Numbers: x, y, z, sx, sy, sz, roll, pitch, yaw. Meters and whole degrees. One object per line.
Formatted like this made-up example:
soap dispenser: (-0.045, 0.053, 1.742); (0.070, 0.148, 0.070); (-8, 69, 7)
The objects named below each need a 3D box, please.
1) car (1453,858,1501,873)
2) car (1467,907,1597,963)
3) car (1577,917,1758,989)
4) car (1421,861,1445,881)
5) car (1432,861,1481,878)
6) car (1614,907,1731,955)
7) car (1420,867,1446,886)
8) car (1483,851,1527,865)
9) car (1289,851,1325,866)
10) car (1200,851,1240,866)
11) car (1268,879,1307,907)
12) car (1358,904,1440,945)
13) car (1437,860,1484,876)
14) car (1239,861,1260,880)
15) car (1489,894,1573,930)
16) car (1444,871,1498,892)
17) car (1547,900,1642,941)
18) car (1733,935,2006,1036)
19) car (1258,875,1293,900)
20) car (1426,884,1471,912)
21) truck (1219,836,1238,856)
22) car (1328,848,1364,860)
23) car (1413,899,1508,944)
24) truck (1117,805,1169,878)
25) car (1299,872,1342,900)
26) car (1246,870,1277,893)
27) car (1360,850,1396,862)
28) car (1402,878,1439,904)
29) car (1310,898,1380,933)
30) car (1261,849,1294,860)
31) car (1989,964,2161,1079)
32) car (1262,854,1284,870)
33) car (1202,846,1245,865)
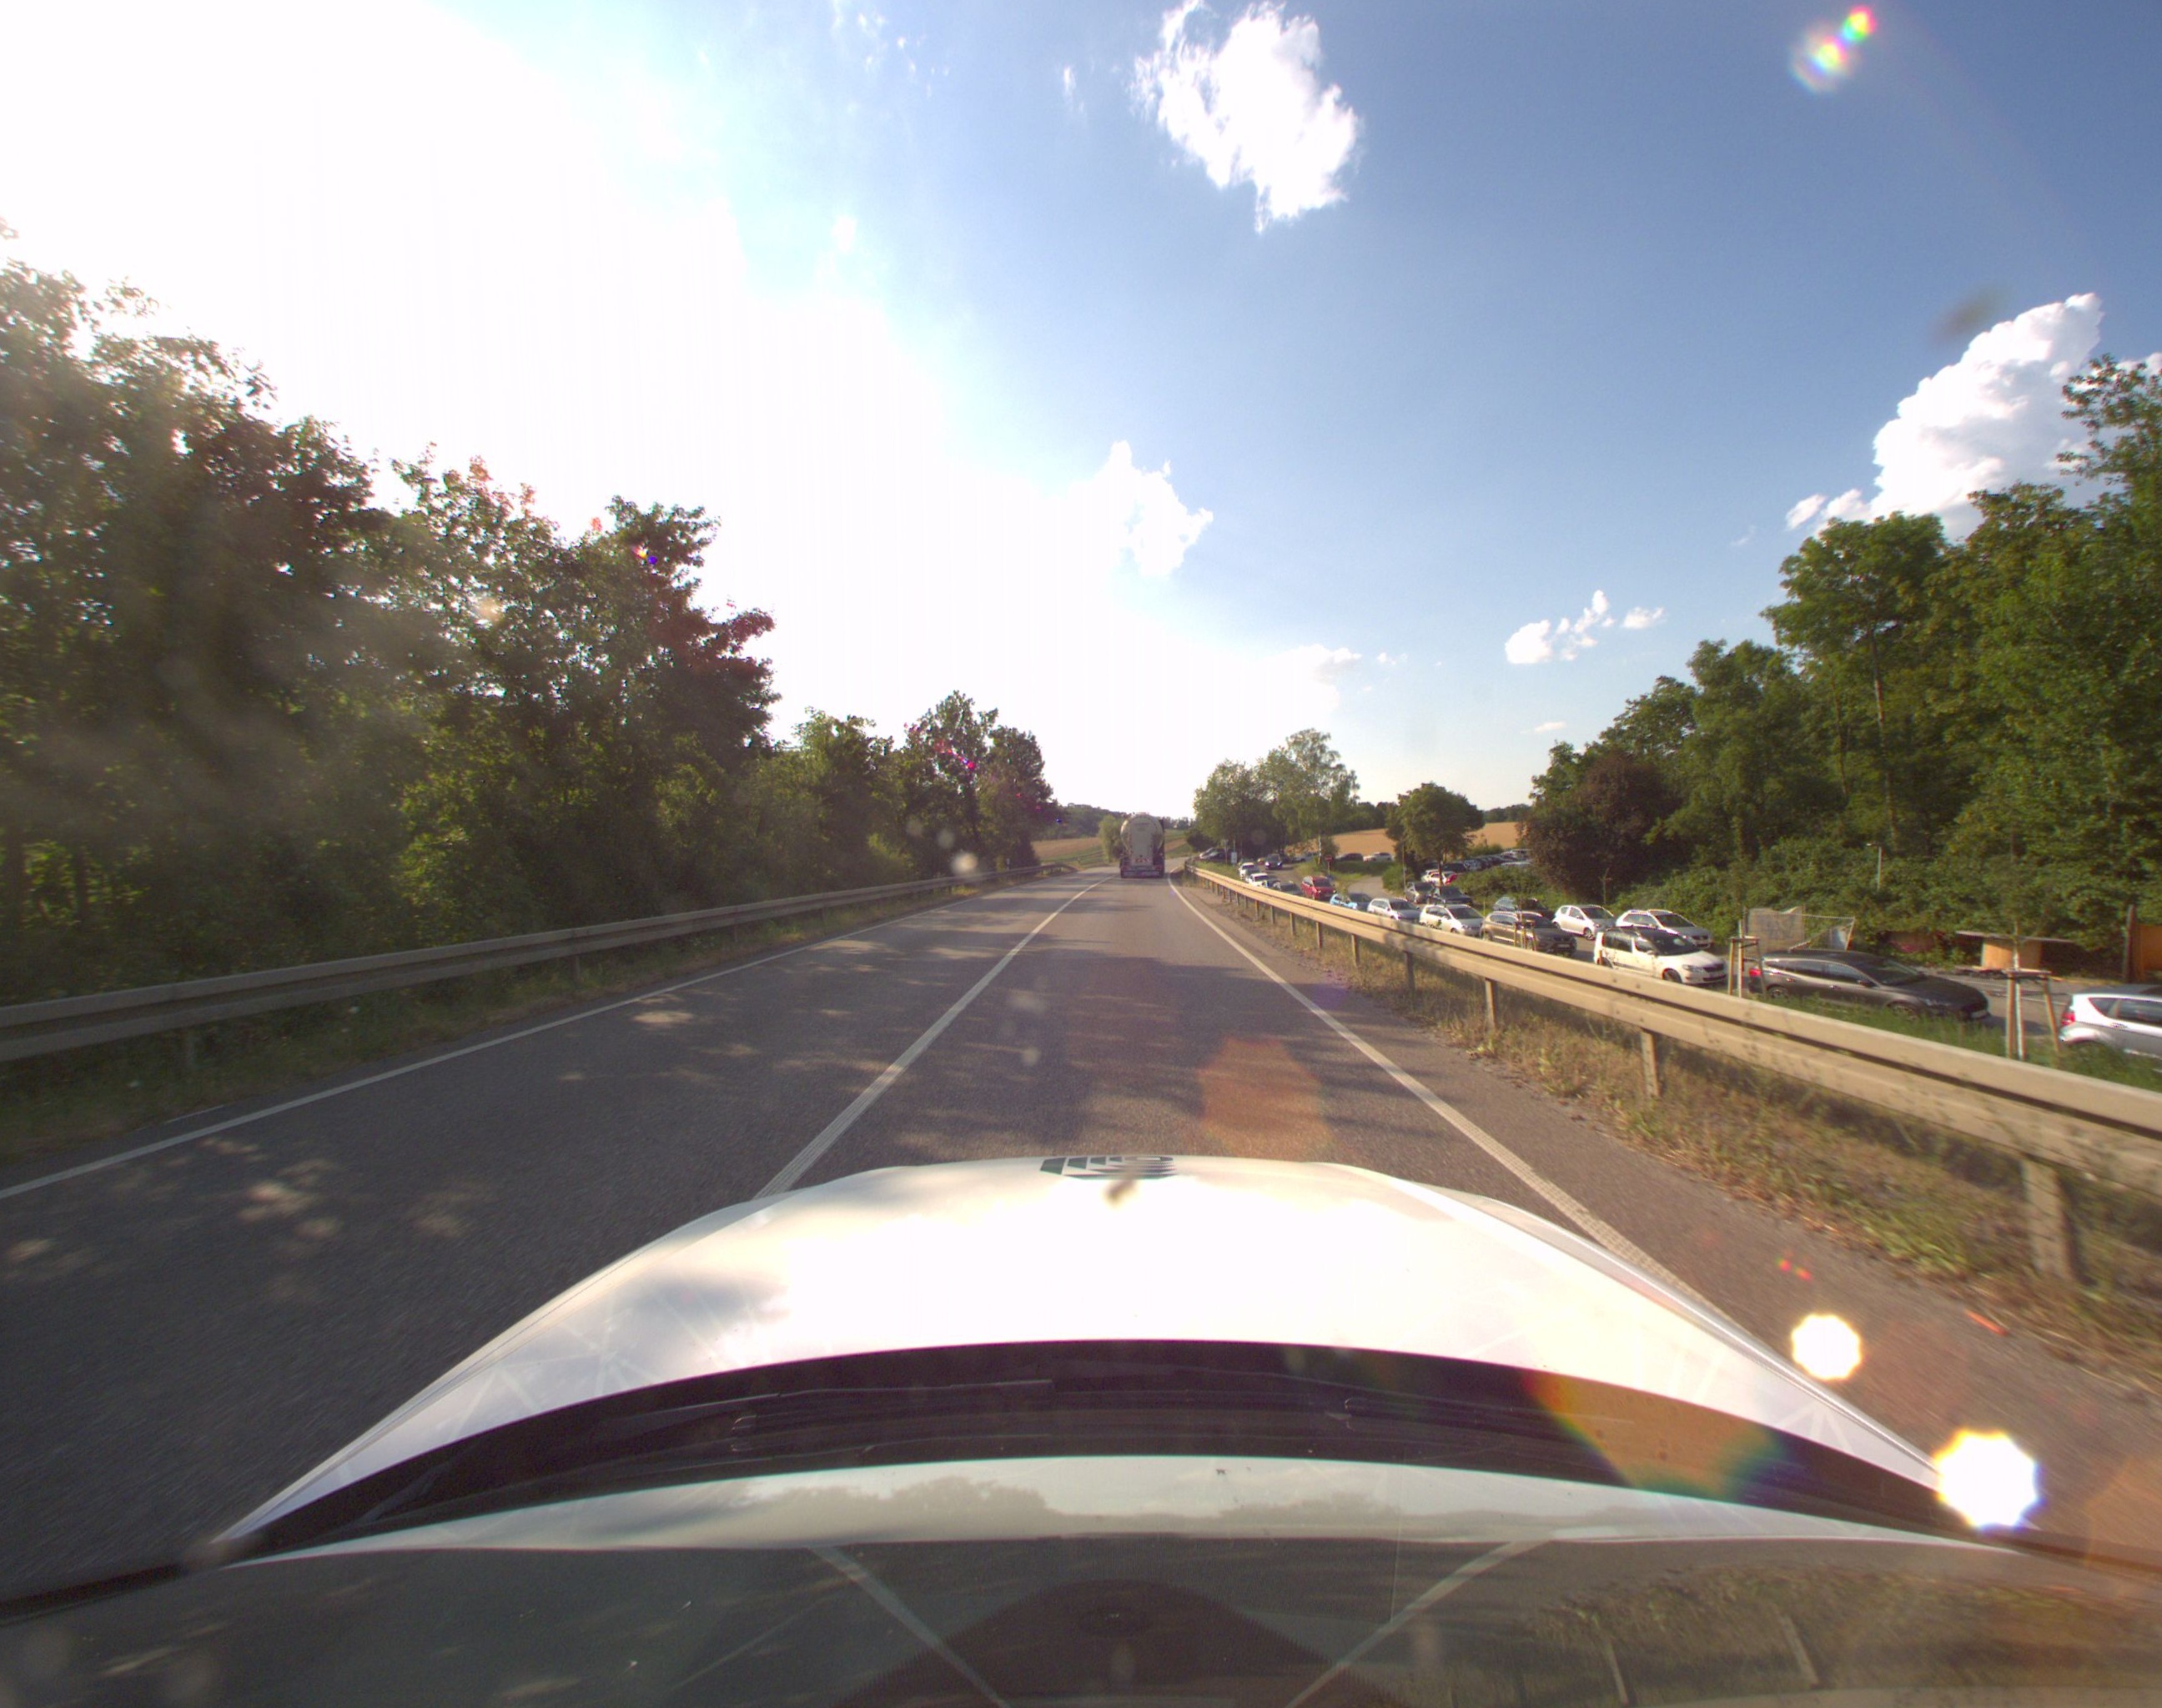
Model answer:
car: (45.342, 1.294, 93.368); (1.812, 1.691, 4.544); (-2, 0, -37)
car: (18.124, 3.207, 33.033); (1.893, 1.559, 4.764); (-5, 2, -11)
car: (19.129, 3.163, 26.882); (1.893, 1.559, 4.764); (-5, 2, -11)
car: (36.351, 1.713, 84.150); (1.780, 1.842, 4.625); (-2, 0, 29)
car: (40.493, 1.646, 87.763); (4.537, 1.691, 1.815); (-1, 0, 32)
car: (23.963, 3.068, 33.173); (1.698, 1.510, 3.939); (-2, 0, -4)
car: (33.503, 2.124, 77.626); (1.676, 1.486, 4.311); (-2, 1, 16)
car: (53.340, 0.510, 102.562); (1.812, 1.691, 4.544); (-2, 0, -37)
car: (29.617, 0.538, 106.811); (4.216, 1.747, 1.800); (-2, 1, -18)
car: (16.221, 0.509, 95.188); (4.328, 1.509, 1.708); (2, 1, -22)
car: (15.503, 2.916, 61.251); (1.884, 1.559, 4.788); (-5, 2, 4)
car: (17.030, 3.715, 43.864); (1.891, 1.559, 4.768); (-5, 2, -9)
car: (42.942, 1.583, 92.235); (4.537, 1.691, 1.815); (-1, 0, 32)
car: (17.259, 1.684, 83.689); (1.880, 1.559, 4.798); (-5, 2, 11)
car: (23.320, 2.968, 42.461); (1.695, 1.398, 4.785); (-4, 0, 1)
car: (32.012, 2.240, 66.927); (3.736, 1.543, 1.661); (-2, 0, 15)
car: (23.552, 3.013, 37.518); (1.697, 1.398, 3.941); (-4, 0, -2)
car: (19.860, 3.211, 20.876); (1.893, 1.559, 4.764); (-5, 2, -11)
car: (15.855, 2.725, 66.509); (1.884, 1.559, 4.788); (-5, 2, 4)
car: (23.739, 2.806, 52.723); (1.689, 1.398, 4.803); (-4, 0, 14)
truck: (33.013, -1.914, 181.607); (3.161, 4.227, 13.222); (-2, 1, 14)
car: (35.816, -0.020, 109.963); (4.653, 1.507, 1.983); (-1, 0, -27)
car: (17.814, 3.113, 38.542); (1.889, 1.559, 4.773); (-2, 1, -6)
truck: (4.017, -0.774, 53.330); (2.880, 4.142, 13.186); (-1, 0, 4)
car: (18.902, 2.511, 64.544); (1.885, 1.686, 5.087); (-5, 2, 1)
car: (16.015, 2.439, 72.384); (1.884, 1.559, 4.788); (-5, 2, 4)
car: (41.003, 0.286, 112.348); (4.653, 1.507, 1.983); (-1, 0, -27)
car: (24.474, 2.667, 58.812); (1.689, 1.398, 4.116); (-4, 2, 14)
car: (16.016, 3.697, 49.717); (1.893, 1.559, 4.764); (-5, 2, -11)
car: (25.386, 0.019, 105.343); (3.727, 1.441, 1.801); (0, 0, -17)
car: (20.630, 3.259, 15.059); (1.895, 1.559, 4.759); (-5, 2, -15)
car: (21.463, 0.900, 91.101); (1.882, 1.675, 4.791); (-1, -1, 6)
car: (17.785, 0.208, 101.643); (5.112, 1.943, 1.979); (4, 1, 7)
